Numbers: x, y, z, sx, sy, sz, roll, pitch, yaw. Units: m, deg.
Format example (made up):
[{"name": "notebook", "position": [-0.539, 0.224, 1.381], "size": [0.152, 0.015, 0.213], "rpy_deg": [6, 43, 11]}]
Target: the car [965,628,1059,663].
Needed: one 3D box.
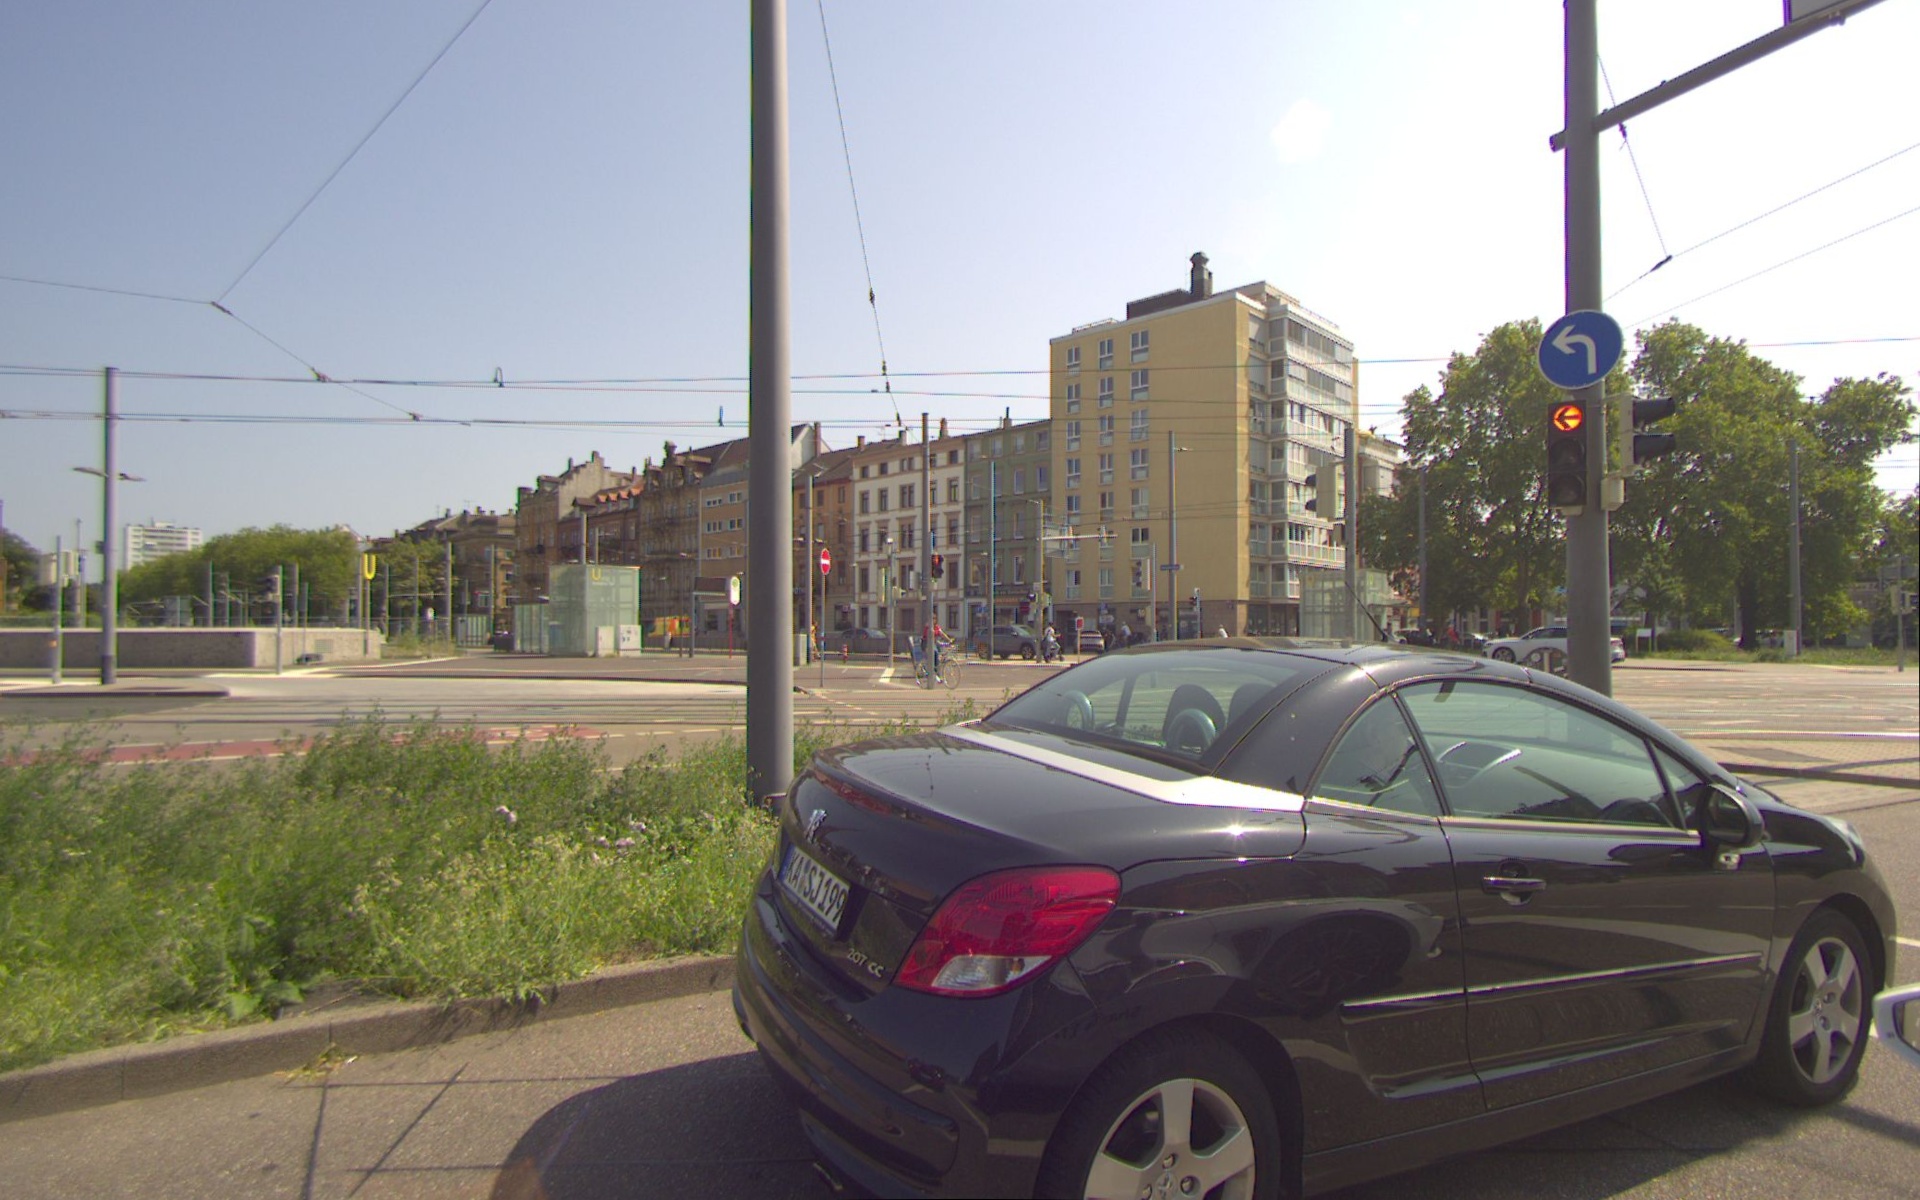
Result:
[{"name": "car", "position": [2.456, 2.163, 48.479], "size": [4.480, 1.621, 1.761], "rpy_deg": [-1, -2, 43]}]

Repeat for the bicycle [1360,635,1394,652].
[{"name": "bicycle", "position": [23.489, 2.432, 56.576], "size": [0.413, 0.954, 1.798], "rpy_deg": [2, -2, -41]}]

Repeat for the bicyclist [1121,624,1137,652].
[{"name": "bicyclist", "position": [11.043, 2.501, 65.767], "size": [0.494, 1.831, 0.915], "rpy_deg": [2, -2, -41]}]

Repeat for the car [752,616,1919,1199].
[{"name": "car", "position": [1.378, 0.794, 3.312], "size": [3.731, 1.406, 1.760], "rpy_deg": [1, 0, -26]}]

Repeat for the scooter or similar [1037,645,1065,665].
[{"name": "scooter or similar", "position": [3.991, 2.403, 43.991], "size": [1.132, 0.835, 0.517], "rpy_deg": [1, -2, -35]}]

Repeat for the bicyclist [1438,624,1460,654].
[{"name": "bicyclist", "position": [24.367, 1.939, 50.033], "size": [0.494, 1.502, 0.863], "rpy_deg": [2, -2, -41]}]

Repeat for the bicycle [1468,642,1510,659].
[{"name": "bicycle", "position": [26.812, 2.551, 50.924], "size": [1.836, 0.813, 0.604], "rpy_deg": [-1, -2, 43]}]

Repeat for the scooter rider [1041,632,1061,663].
[{"name": "scooter rider", "position": [3.999, 2.081, 44.111], "size": [0.602, 1.371, 0.682], "rpy_deg": [1, -2, -35]}]

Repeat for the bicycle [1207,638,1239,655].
[{"name": "bicycle", "position": [15.875, 2.808, 60.609], "size": [1.794, 0.954, 0.565], "rpy_deg": [-1, -2, 42]}]

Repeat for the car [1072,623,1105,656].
[{"name": "car", "position": [7.918, 2.391, 61.543], "size": [1.767, 1.951, 4.003], "rpy_deg": [0, -2, 11]}]

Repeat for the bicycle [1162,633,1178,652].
[{"name": "bicycle", "position": [13.855, 2.807, 66.299], "size": [0.680, 1.220, 3.265], "rpy_deg": [0, -2, 5]}]

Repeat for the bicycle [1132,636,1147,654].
[{"name": "bicycle", "position": [12.163, 3.044, 68.115], "size": [0.680, 1.220, 3.265], "rpy_deg": [0, -2, 5]}]

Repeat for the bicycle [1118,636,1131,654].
[{"name": "bicycle", "position": [11.306, 3.091, 69.155], "size": [0.680, 1.220, 2.793], "rpy_deg": [0, -2, 5]}]

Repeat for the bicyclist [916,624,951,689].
[{"name": "bicyclist", "position": [-0.636, 1.356, 24.211], "size": [0.632, 1.529, 0.553], "rpy_deg": [1, -2, -36]}]

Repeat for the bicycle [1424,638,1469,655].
[{"name": "bicycle", "position": [24.277, 2.312, 50.137], "size": [0.476, 0.813, 2.030], "rpy_deg": [2, -2, -41]}]

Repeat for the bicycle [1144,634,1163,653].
[{"name": "bicycle", "position": [12.977, 2.890, 67.442], "size": [0.892, 1.220, 3.265], "rpy_deg": [0, -2, 5]}]

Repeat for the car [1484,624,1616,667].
[{"name": "car", "position": [23.555, 1.790, 40.193], "size": [4.276, 1.639, 1.744], "rpy_deg": [-1, -2, 44]}]

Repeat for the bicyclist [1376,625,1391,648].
[{"name": "bicyclist", "position": [23.697, 2.048, 56.204], "size": [0.555, 1.310, 0.540], "rpy_deg": [2, -2, -41]}]

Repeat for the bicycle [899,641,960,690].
[{"name": "bicycle", "position": [-0.744, 1.569, 24.239], "size": [0.499, 1.108, 1.918], "rpy_deg": [1, -2, -35]}]

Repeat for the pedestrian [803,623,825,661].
[{"name": "pedestrian", "position": [-6.066, 1.733, 41.784], "size": [0.843, 1.563, 0.743], "rpy_deg": [0, -2, -7]}]

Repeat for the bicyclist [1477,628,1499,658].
[{"name": "bicyclist", "position": [26.792, 2.164, 50.958], "size": [0.861, 1.495, 0.543], "rpy_deg": [-1, -2, 43]}]

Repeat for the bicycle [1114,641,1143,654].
[{"name": "bicycle", "position": [11.027, 3.080, 65.790], "size": [0.476, 0.813, 2.030], "rpy_deg": [2, -2, -41]}]

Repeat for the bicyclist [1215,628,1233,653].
[{"name": "bicyclist", "position": [15.926, 2.436, 60.585], "size": [0.899, 1.528, 0.556], "rpy_deg": [-1, -2, 41]}]
